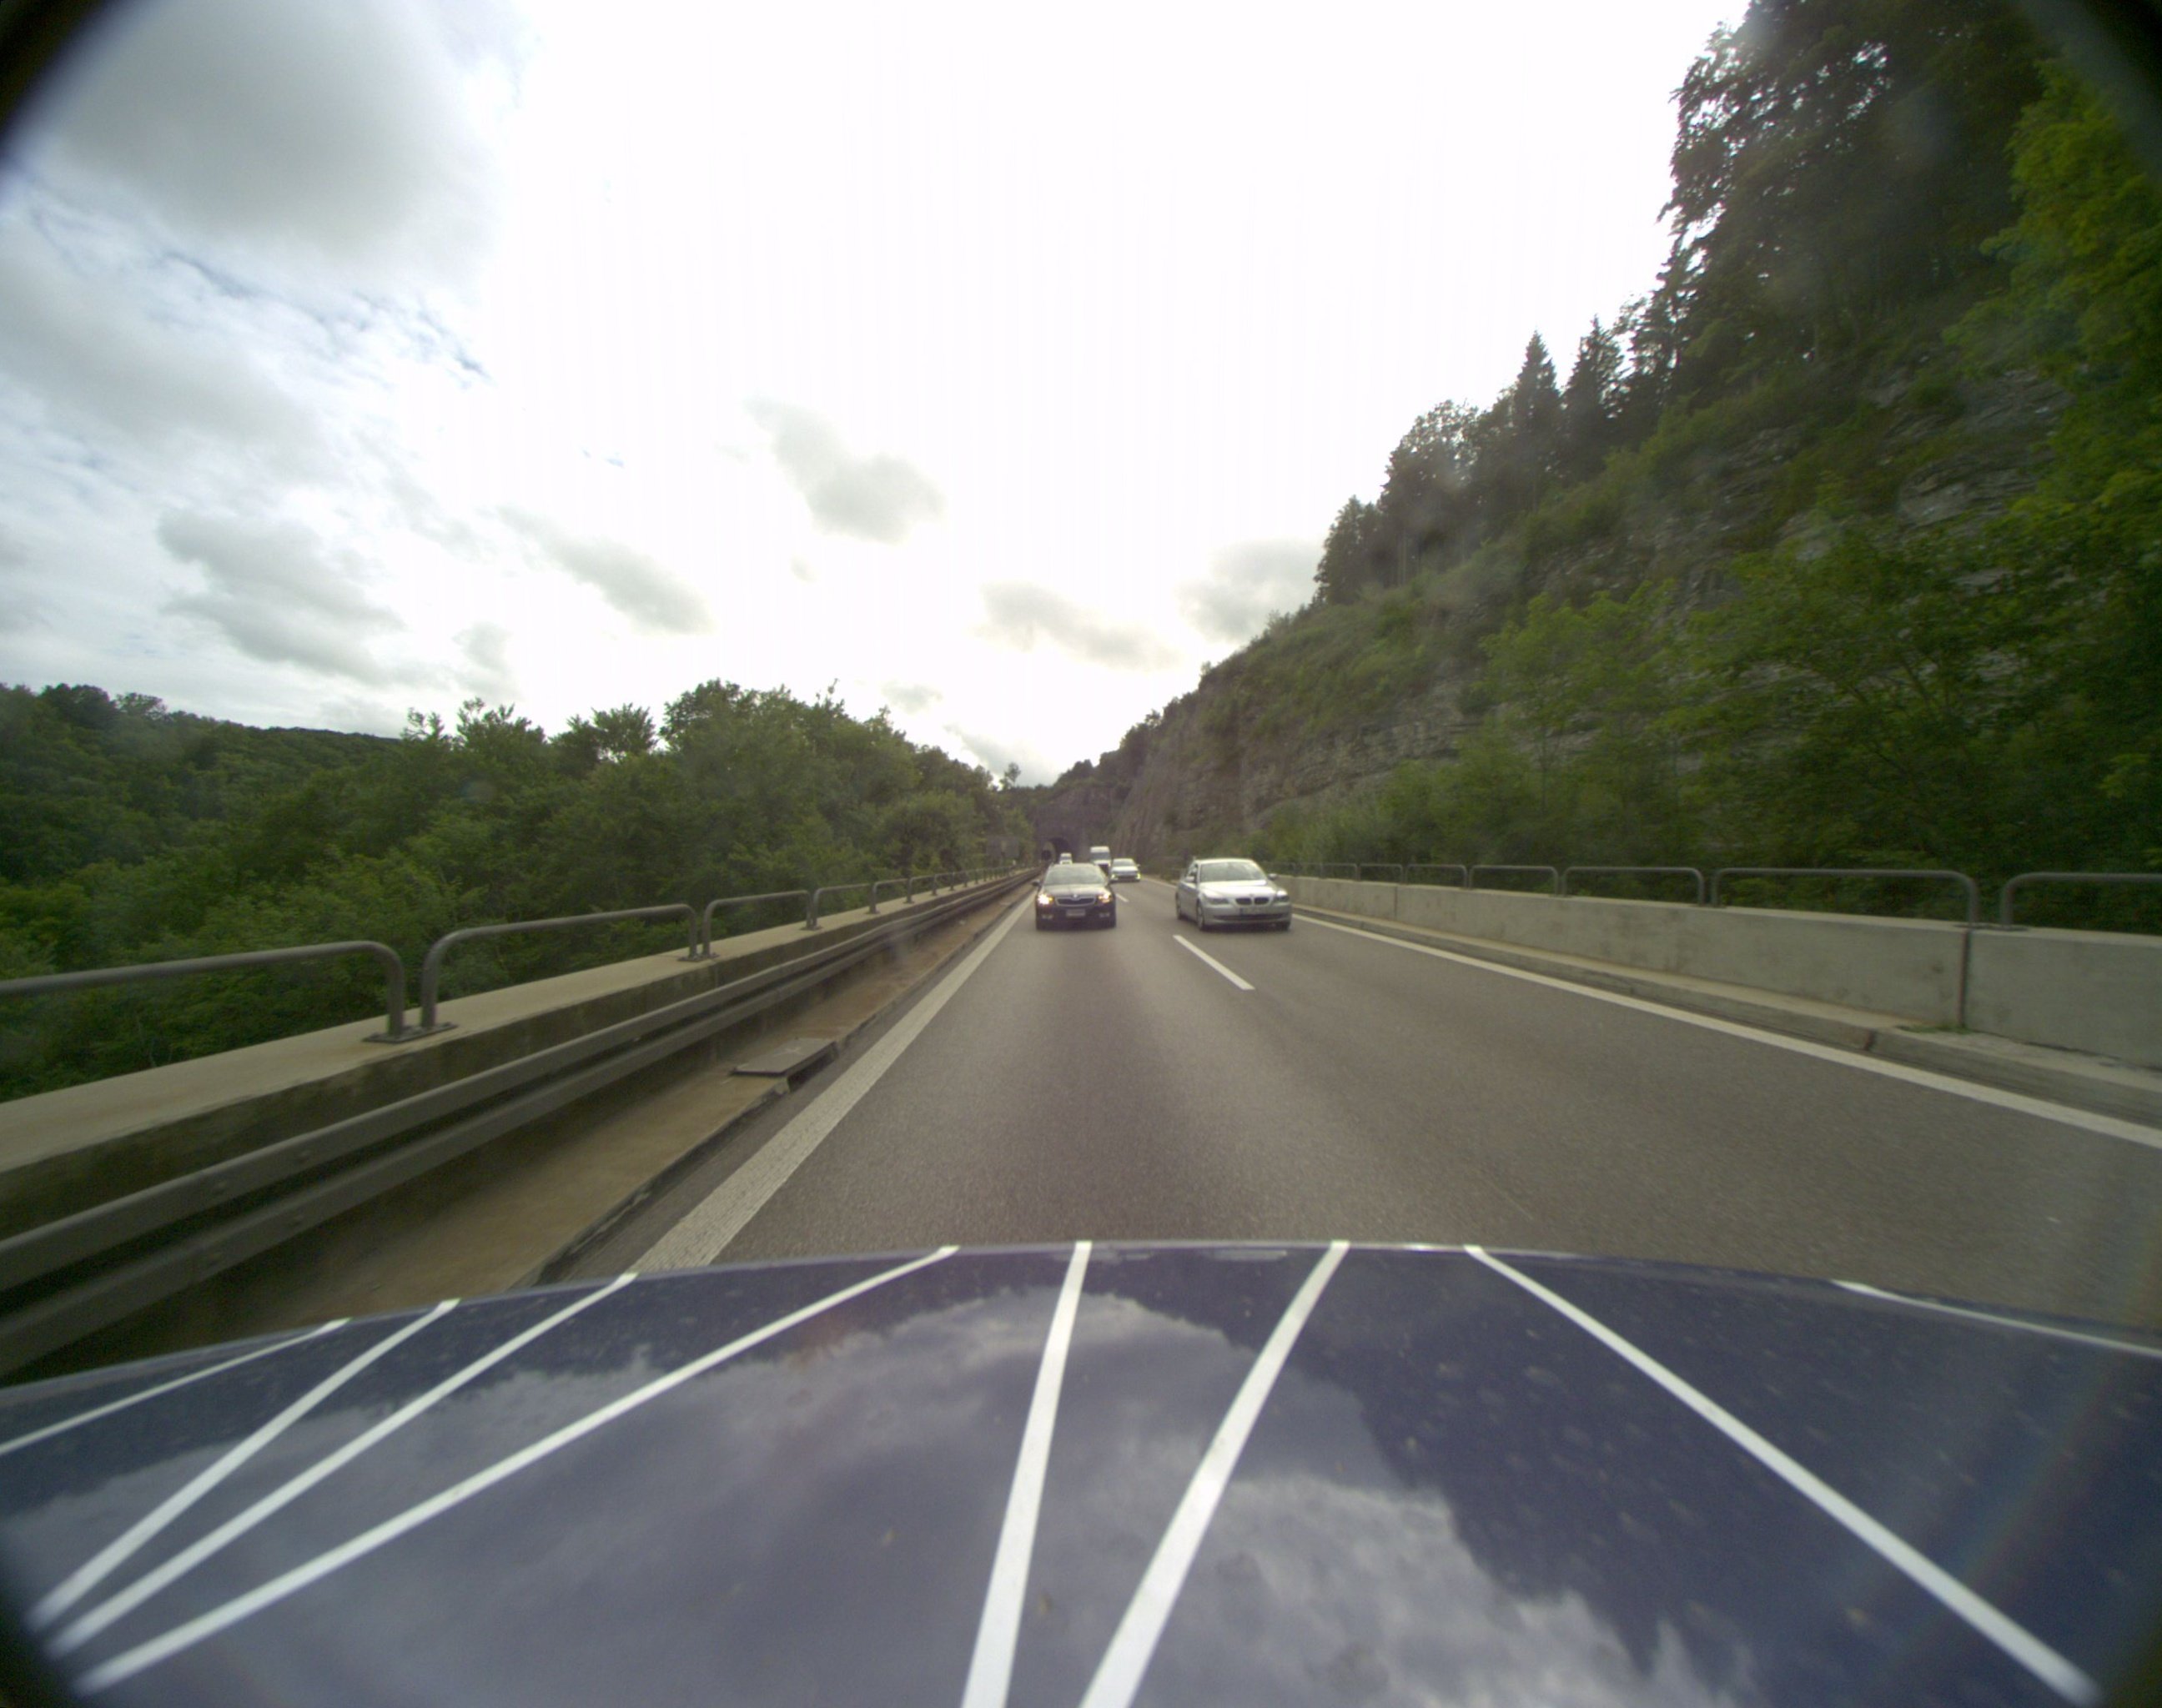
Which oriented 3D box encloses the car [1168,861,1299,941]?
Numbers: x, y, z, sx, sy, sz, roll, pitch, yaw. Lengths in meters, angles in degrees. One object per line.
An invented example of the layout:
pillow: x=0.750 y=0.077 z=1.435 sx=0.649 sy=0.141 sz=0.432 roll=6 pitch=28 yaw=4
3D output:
car: x=3.197 y=0.920 z=17.025 sx=1.833 sy=1.448 sz=5.135 roll=-2 pitch=0 yaw=0

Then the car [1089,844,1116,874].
car: x=1.917 y=0.390 z=68.905 sx=1.869 sy=2.444 sz=4.980 roll=-2 pitch=2 yaw=-4

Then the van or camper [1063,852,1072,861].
van or camper: x=-3.224 y=0.552 z=178.700 sx=1.999 sy=2.002 sz=3.999 roll=-2 pitch=0 yaw=-2

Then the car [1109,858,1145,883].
car: x=2.884 y=1.008 z=48.455 sx=1.923 sy=1.452 sz=4.230 roll=-2 pitch=0 yaw=-1

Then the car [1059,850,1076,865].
car: x=-2.347 y=0.599 z=133.040 sx=2.675 sy=2.408 sz=6.119 roll=-2 pitch=0 yaw=-3

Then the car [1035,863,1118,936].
car: x=-0.101 y=0.973 z=18.057 sx=1.677 sy=1.418 sz=4.472 roll=-2 pitch=0 yaw=0
